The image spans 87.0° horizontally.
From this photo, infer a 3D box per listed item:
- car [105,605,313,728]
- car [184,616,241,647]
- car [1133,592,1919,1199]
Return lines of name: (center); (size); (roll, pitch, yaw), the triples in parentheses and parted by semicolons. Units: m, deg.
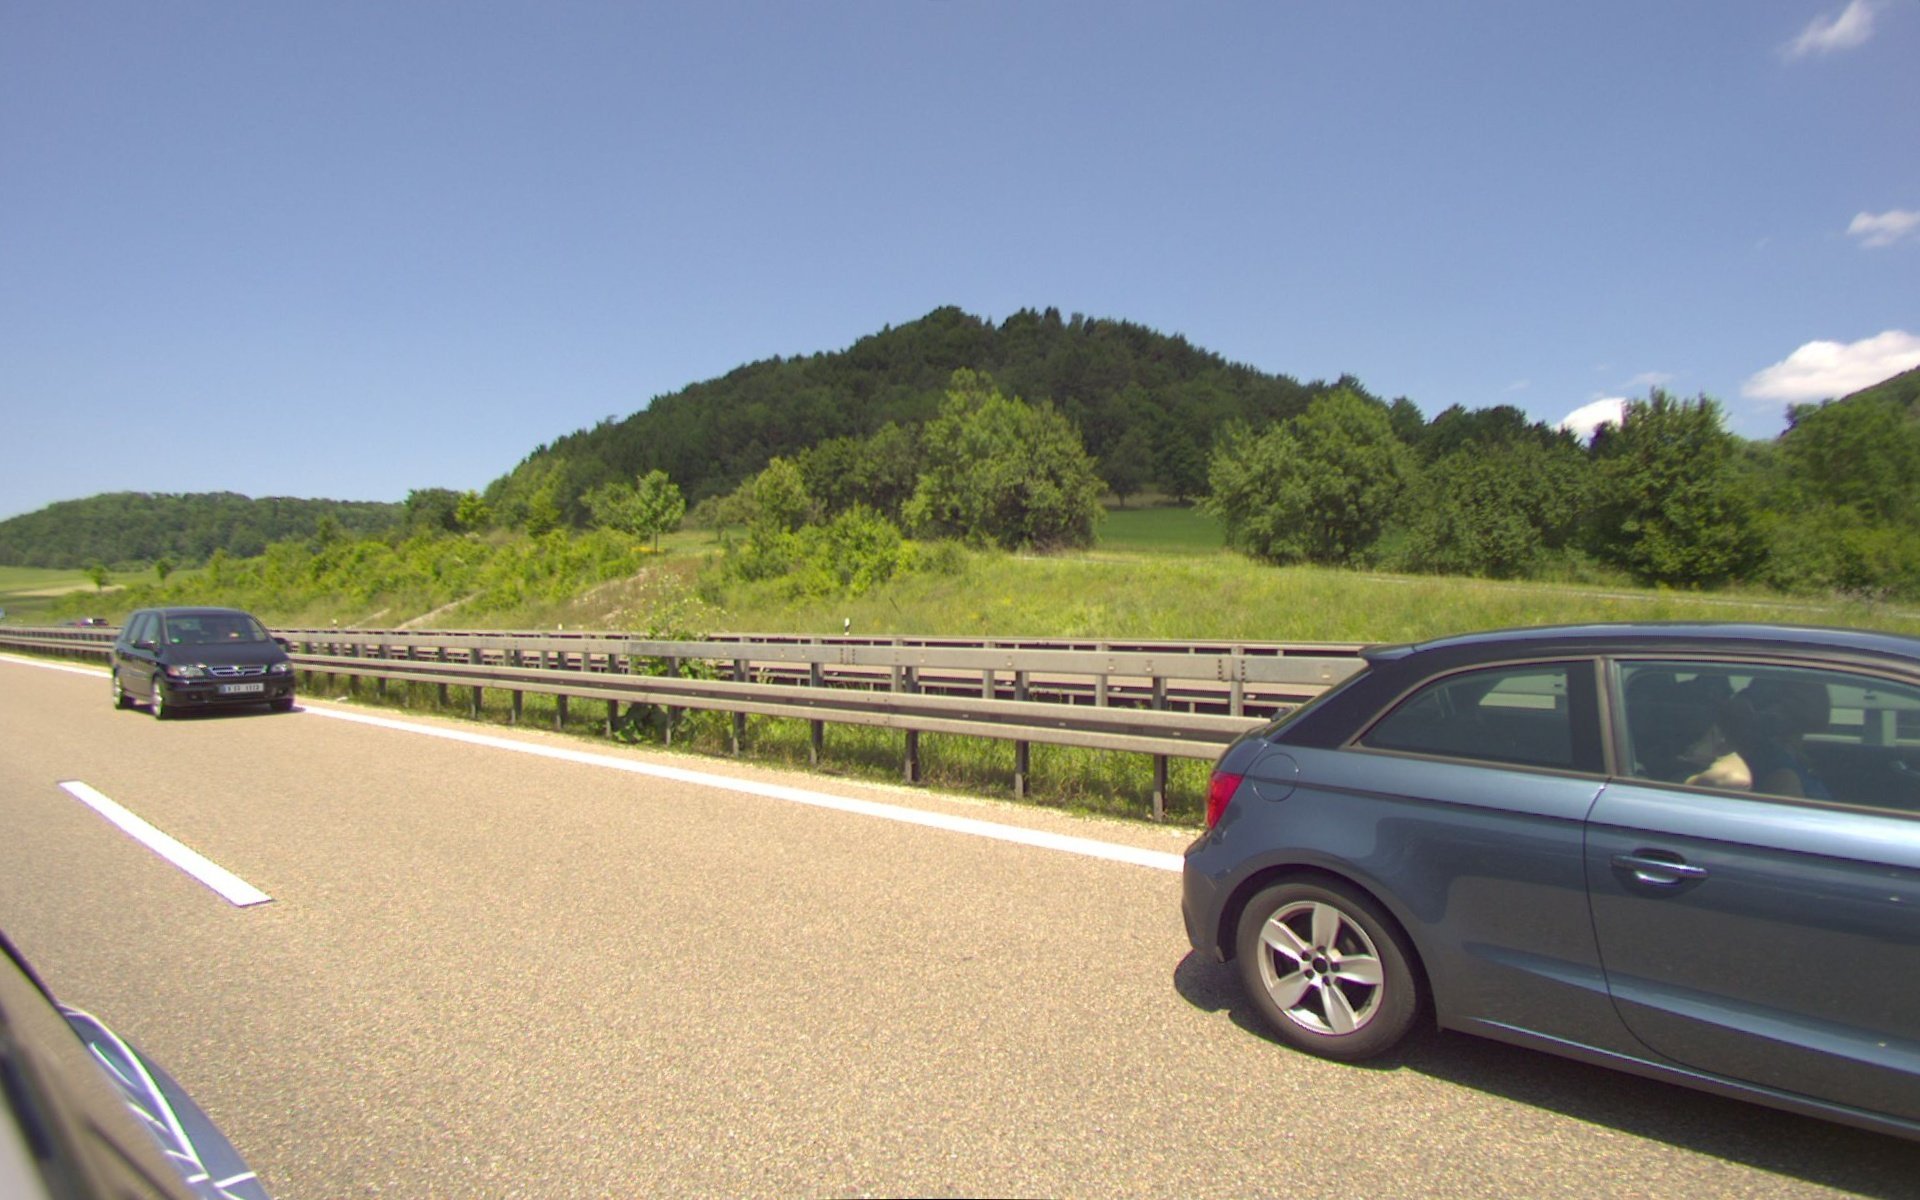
car: (-11.804, 0.940, 15.798); (4.445, 1.647, 1.781); (-1, -1, 42)
car: (-49.171, 2.028, 66.539); (4.658, 1.956, 2.039); (-1, -1, 41)
car: (2.669, 0.689, 2.917); (3.998, 1.399, 1.671); (-1, -1, 41)
